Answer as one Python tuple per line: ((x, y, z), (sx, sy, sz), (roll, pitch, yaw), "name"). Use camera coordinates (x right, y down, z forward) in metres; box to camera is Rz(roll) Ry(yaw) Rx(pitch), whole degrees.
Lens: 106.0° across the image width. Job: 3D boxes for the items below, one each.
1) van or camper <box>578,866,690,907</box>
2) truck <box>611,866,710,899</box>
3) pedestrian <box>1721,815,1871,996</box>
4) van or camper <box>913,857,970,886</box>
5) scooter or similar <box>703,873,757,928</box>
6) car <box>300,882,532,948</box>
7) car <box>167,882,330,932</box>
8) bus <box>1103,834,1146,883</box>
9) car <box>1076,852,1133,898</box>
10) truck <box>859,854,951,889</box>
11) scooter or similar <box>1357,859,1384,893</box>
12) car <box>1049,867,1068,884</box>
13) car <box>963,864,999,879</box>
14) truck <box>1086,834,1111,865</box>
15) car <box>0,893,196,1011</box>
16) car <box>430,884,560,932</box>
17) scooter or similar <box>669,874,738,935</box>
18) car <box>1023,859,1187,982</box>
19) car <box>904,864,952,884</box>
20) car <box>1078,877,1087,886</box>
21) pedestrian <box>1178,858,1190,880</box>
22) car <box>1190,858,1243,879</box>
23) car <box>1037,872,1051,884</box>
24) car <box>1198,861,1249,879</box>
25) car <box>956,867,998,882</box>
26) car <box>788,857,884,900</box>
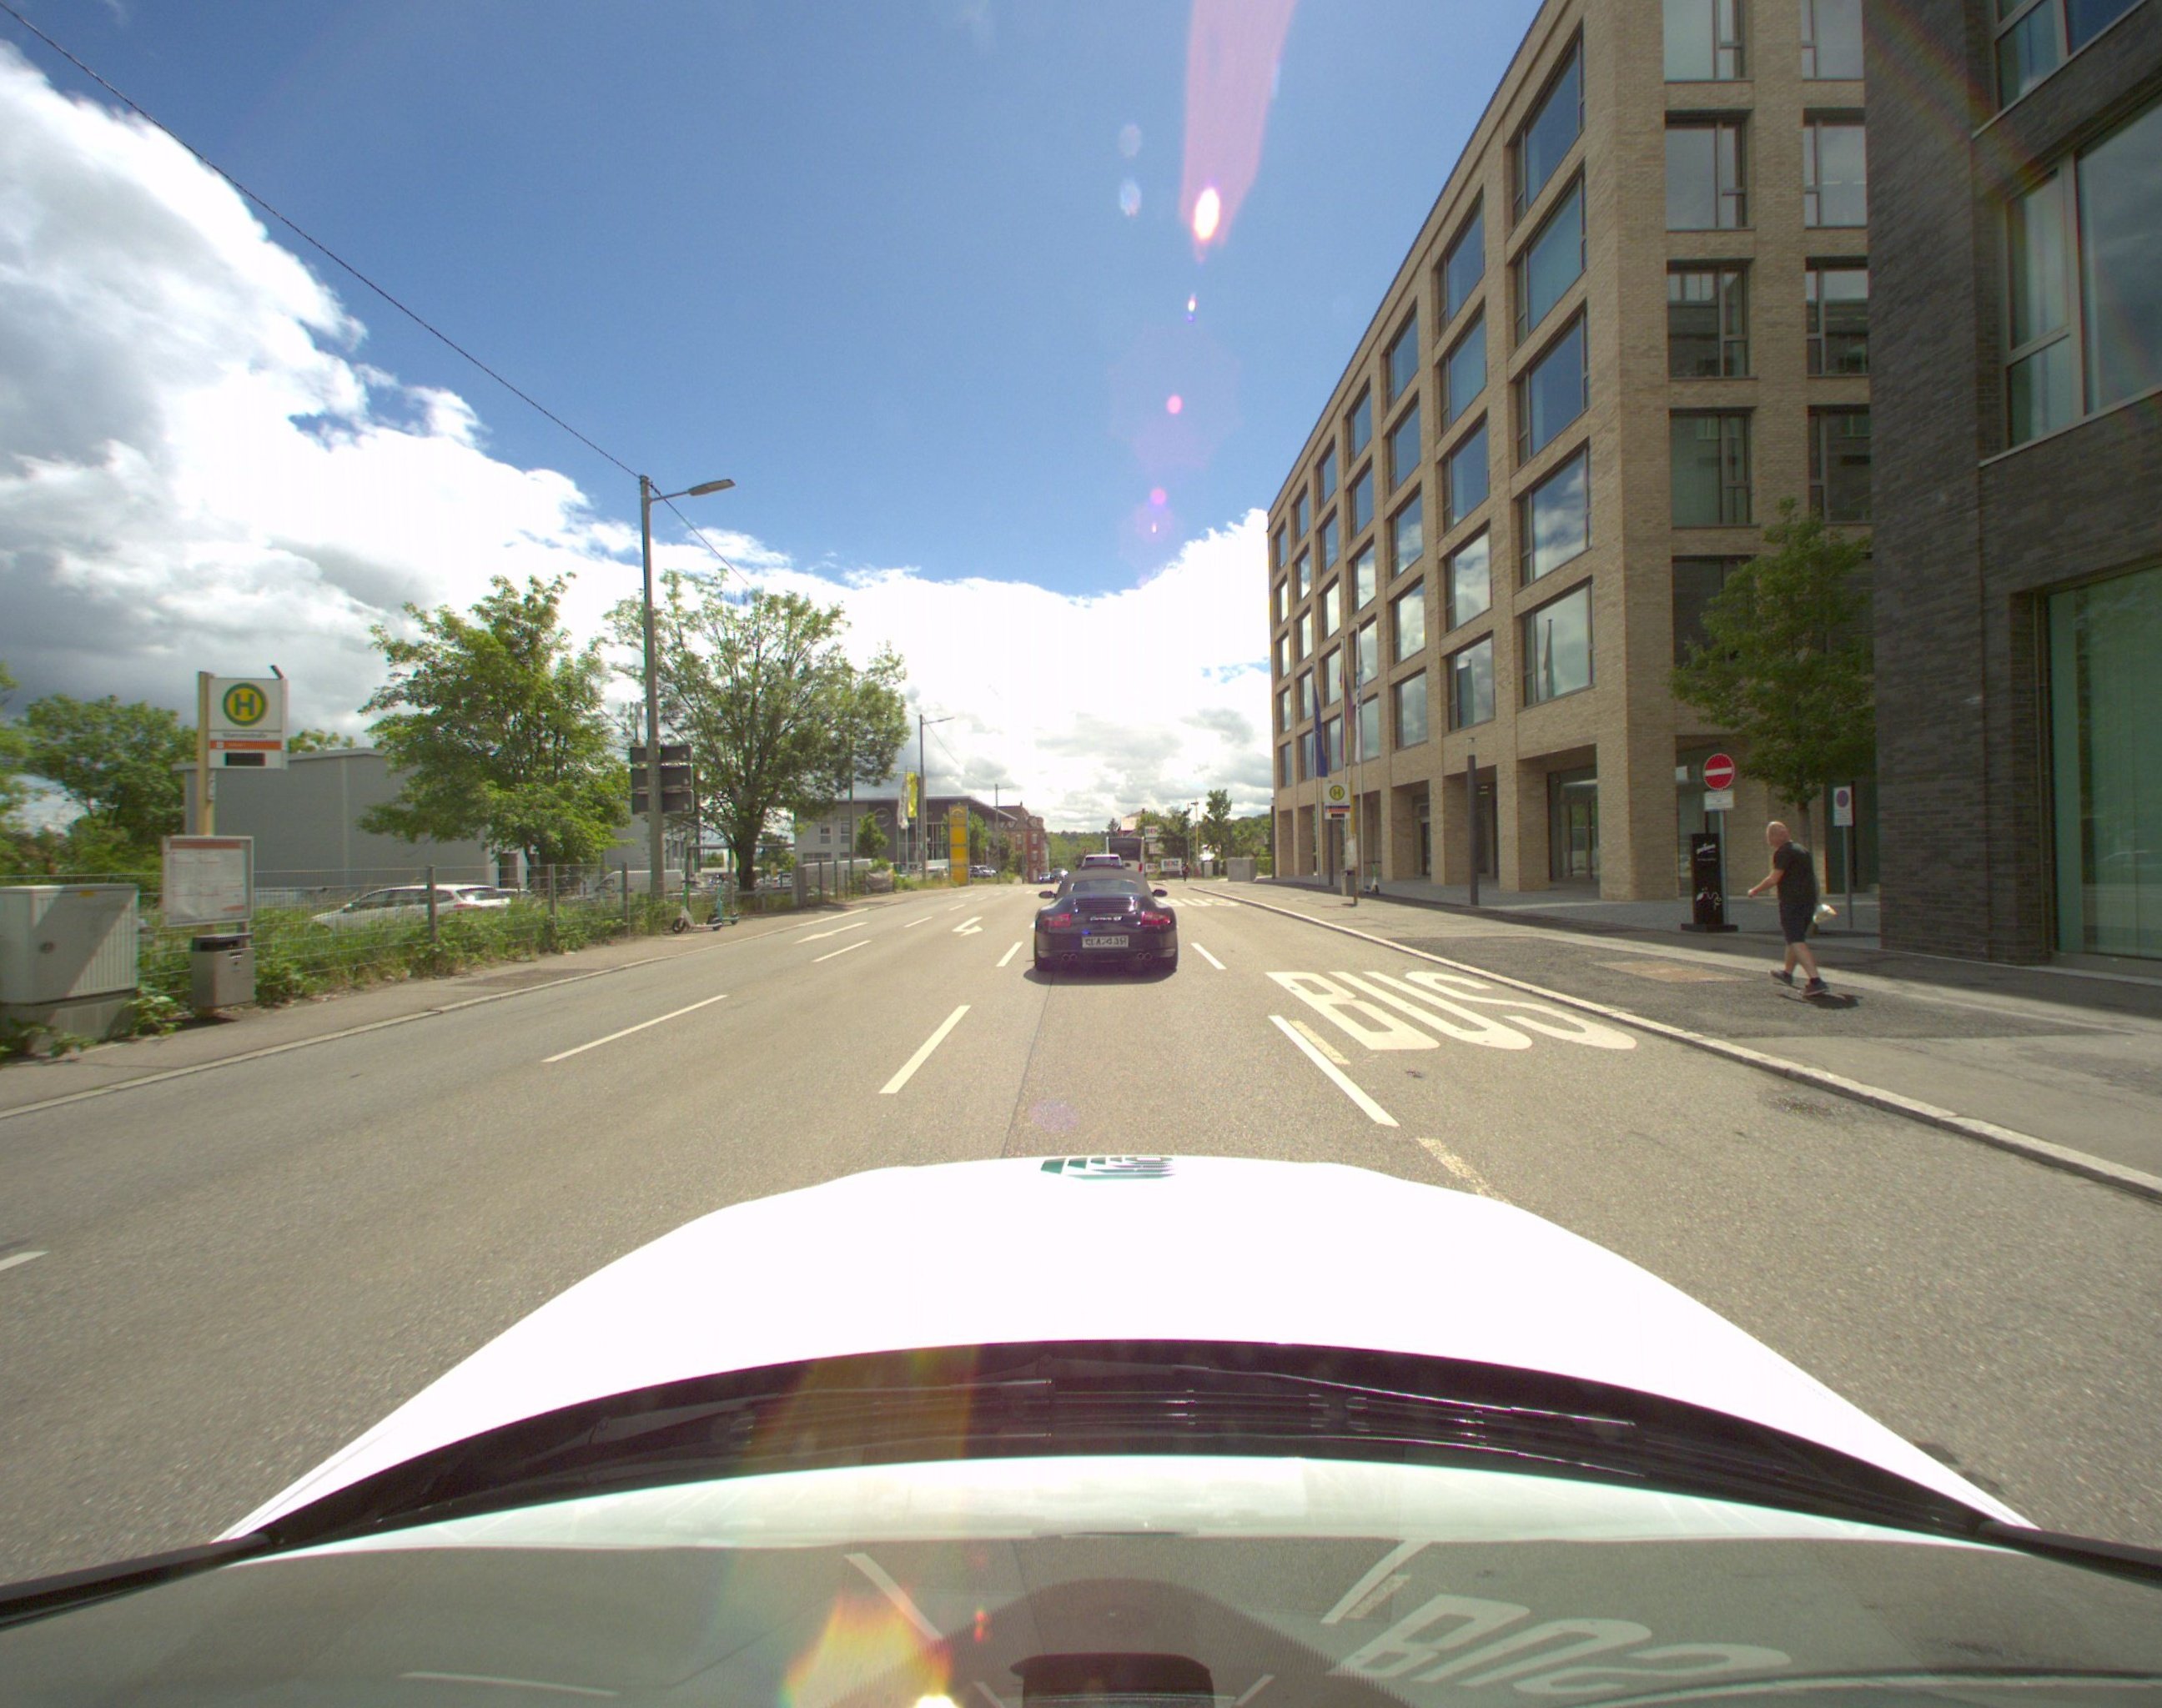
((-28.549, 2.031, 52.266), (5.898, 2.355, 2.488), (-1, 0, -18), "van or camper")
((-31.869, 2.187, 62.016), (6.314, 2.229, 2.683), (-1, -2, -20), "truck")
((7.260, 0.493, 8.322), (0.681, 1.728, 0.962), (-1, 0, 0), "pedestrian")
((-13.273, 1.649, 77.847), (5.011, 2.531, 2.318), (-1, 0, 0), "van or camper")
((-8.522, 1.102, 19.807), (0.532, 1.266, 1.474), (0, 0, 6), "scooter or similar")
((-16.194, 1.461, 19.956), (4.256, 1.381, 1.868), (-2, -1, 5), "car")
((-33.335, 2.094, 32.766), (4.173, 1.728, 1.831), (-2, -1, -19), "car")
((3.132, 0.247, 59.832), (2.791, 3.198, 12.202), (-1, 0, 2), "bus")
((0.828, 0.736, 30.883), (1.925, 1.583, 4.205), (-1, 0, -1), "car")
((-12.214, 1.247, 56.891), (5.847, 2.148, 2.474), (-2, -2, -3), "truck")
((10.070, 0.759, 28.385), (0.425, 1.153, 1.403), (-2, -1, 1), "scooter or similar")
((-2.190, 2.142, 81.016), (1.824, 1.509, 4.274), (-2, -2, -1), "car")
((-11.220, 1.964, 91.580), (1.913, 1.573, 4.578), (-2, -2, 24), "car")
((2.006, -0.437, 96.236), (2.658, 3.108, 9.033), (-2, -2, 0), "truck")
((-15.985, 1.410, 11.624), (4.273, 1.487, 1.905), (-2, -1, -8), "car")
((-25.195, 2.264, 35.270), (1.829, 1.728, 4.919), (-2, -1, 3), "car")
((-8.458, 1.106, 18.308), (0.530, 1.262, 1.478), (0, 0, 18), "scooter or similar")
((0.351, 0.807, 11.766), (1.923, 1.376, 4.210), (-1, 0, 2), "car")
((-14.140, 1.867, 75.382), (3.967, 1.706, 2.003), (-1, 0, 5), "car")
((0.241, 5.844, 172.670), (1.858, 1.666, 4.257), (-2, -2, 0), "car")
((7.316, 1.077, 57.879), (0.685, 1.536, 0.856), (-2, -1, 0), "pedestrian")
((13.380, 1.458, 80.570), (4.703, 1.848, 2.083), (-3, -2, -7), "car")
((-5.109, 3.282, 112.489), (1.738, 1.595, 4.040), (-4, -1, -1), "car")
((13.566, 1.535, 77.739), (4.418, 1.482, 1.999), (-3, -2, -1), "car")
((-11.014, 2.137, 86.597), (1.877, 1.450, 4.862), (-1, 0, 28), "car")
((-12.334, 1.200, 41.217), (4.149, 2.013, 2.197), (-1, 0, -2), "car")
